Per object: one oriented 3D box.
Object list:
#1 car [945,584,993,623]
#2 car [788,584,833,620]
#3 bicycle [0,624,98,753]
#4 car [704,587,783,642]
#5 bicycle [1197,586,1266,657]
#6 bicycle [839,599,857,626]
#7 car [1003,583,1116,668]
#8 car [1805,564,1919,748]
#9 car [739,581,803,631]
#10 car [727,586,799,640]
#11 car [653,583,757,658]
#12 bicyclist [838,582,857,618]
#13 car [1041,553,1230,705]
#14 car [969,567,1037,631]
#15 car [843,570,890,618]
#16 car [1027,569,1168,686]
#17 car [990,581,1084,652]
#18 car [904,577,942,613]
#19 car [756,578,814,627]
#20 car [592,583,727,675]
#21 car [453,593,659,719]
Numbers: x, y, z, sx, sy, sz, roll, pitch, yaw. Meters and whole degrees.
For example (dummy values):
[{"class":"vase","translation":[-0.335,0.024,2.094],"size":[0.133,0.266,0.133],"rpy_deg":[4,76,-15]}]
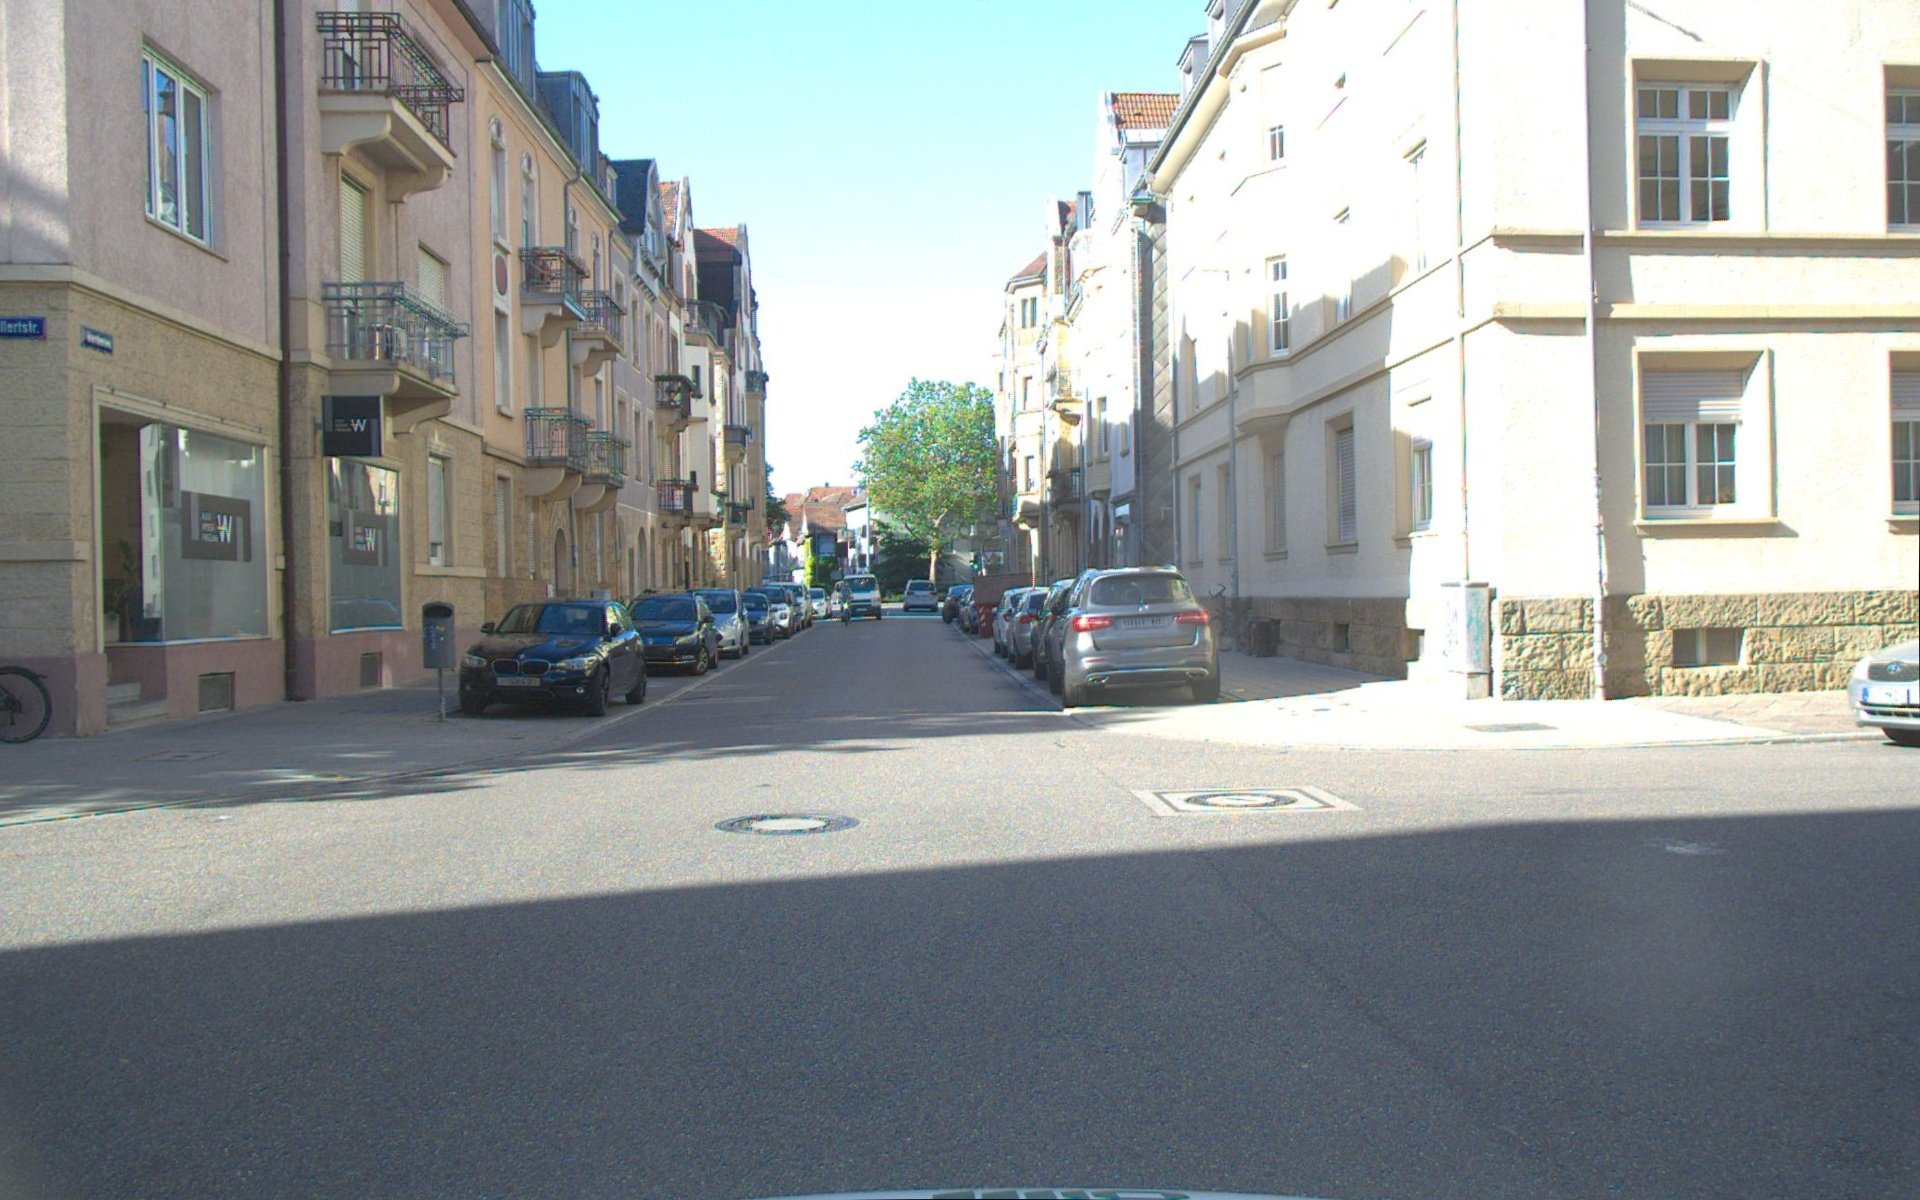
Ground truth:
[{"class":"car","translation":[0.344,0.170,69.123],"size":[1.801,1.456,4.027],"rpy_deg":[-3,-1,-2]},{"class":"car","translation":[-7.107,0.118,78.906],"size":[1.963,1.633,4.484],"rpy_deg":[1,0,-3]},{"class":"bicycle","translation":[-9.213,0.825,15.512],"size":[1.863,1.155,0.647],"rpy_deg":[-1,2,-10]},{"class":"car","translation":[-6.274,0.424,48.352],"size":[1.939,1.508,4.325],"rpy_deg":[1,0,-3]},{"class":"bicycle","translation":[5.056,0.371,30.977],"size":[0.746,1.268,2.590],"rpy_deg":[-1,1,-2]},{"class":"bicycle","translation":[-4.460,0.488,65.800],"size":[0.649,1.037,2.065],"rpy_deg":[-3,0,-3]},{"class":"car","translation":[1.860,0.503,32.152],"size":[1.801,1.456,4.027],"rpy_deg":[-3,-1,-2]},{"class":"car","translation":[9.927,0.418,14.283],"size":[4.454,1.494,1.824],"rpy_deg":[-1,-1,-9]},{"class":"car","translation":[-6.624,0.216,58.417],"size":[1.963,1.647,4.484],"rpy_deg":[1,0,-3]},{"class":"car","translation":[-6.248,0.411,52.924],"size":[1.963,1.647,4.484],"rpy_deg":[1,0,-3]},{"class":"car","translation":[-5.984,0.472,39.250],"size":[1.963,1.647,4.484],"rpy_deg":[1,0,-3]},{"class":"bicyclist","translation":[-4.472,-0.002,65.819],"size":[0.649,1.409,0.753],"rpy_deg":[-3,0,-3]},{"class":"car","translation":[2.143,0.375,21.472],"size":[1.874,1.673,4.773],"rpy_deg":[-3,-1,0]},{"class":"car","translation":[1.273,0.004,50.328],"size":[1.801,1.818,4.027],"rpy_deg":[-2,-1,-2]},{"class":"car","translation":[-4.130,-0.261,73.389],"size":[1.963,2.035,4.484],"rpy_deg":[1,0,-3]},{"class":"car","translation":[2.085,0.434,26.093],"size":[1.710,1.636,4.027],"rpy_deg":[-3,-1,-2]},{"class":"car","translation":[1.688,0.391,37.540],"size":[1.801,1.456,4.027],"rpy_deg":[-3,-1,-2]},{"class":"car","translation":[-2.069,-0.255,91.665],"size":[1.963,1.947,4.485],"rpy_deg":[1,0,-2]},{"class":"car","translation":[-6.732,0.106,64.099],"size":[1.963,1.819,4.484],"rpy_deg":[1,0,-3]},{"class":"car","translation":[-5.691,0.527,31.841],"size":[1.963,1.610,4.484],"rpy_deg":[1,0,-3]},{"class":"car","translation":[-5.131,0.673,21.567],"size":[1.645,1.451,4.273],"rpy_deg":[1,0,-1]}]
